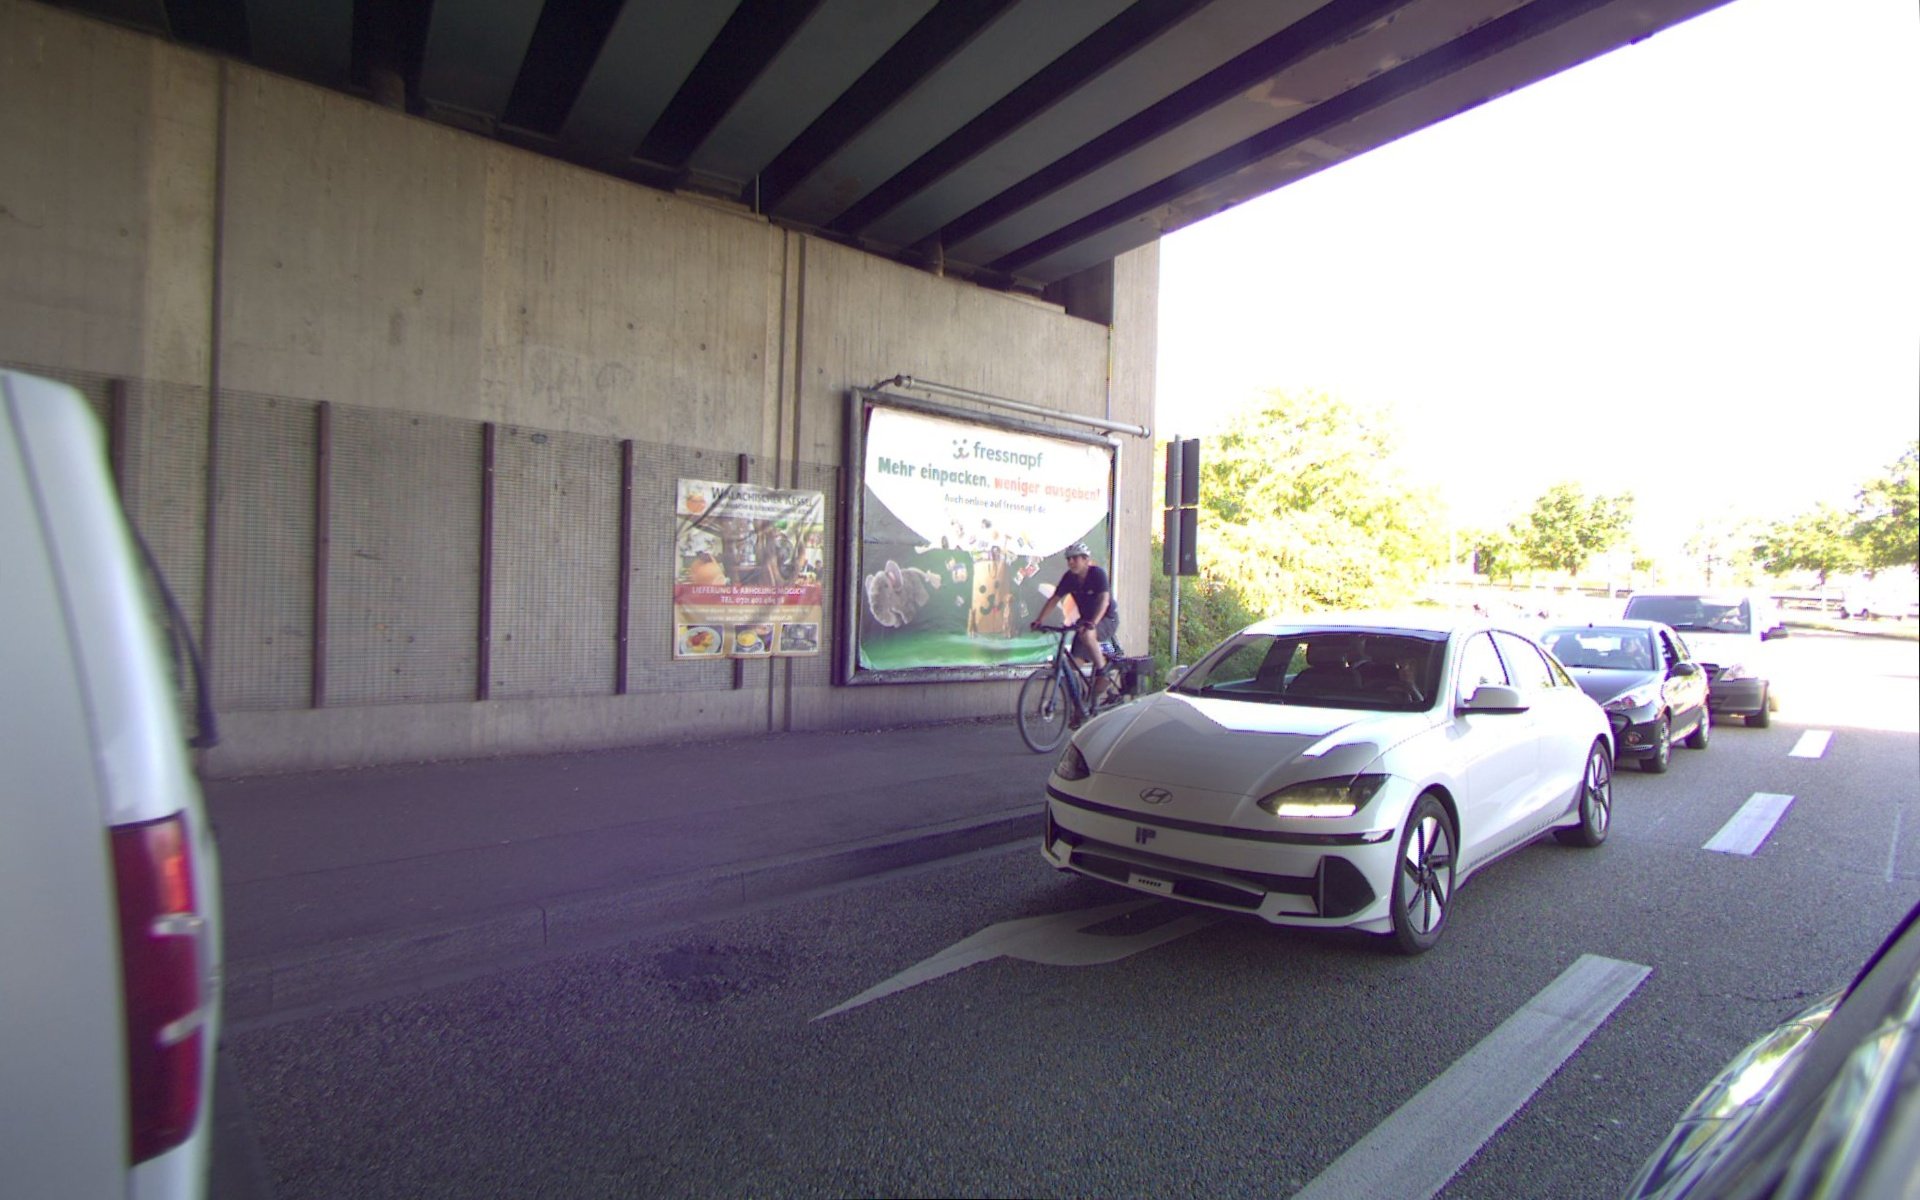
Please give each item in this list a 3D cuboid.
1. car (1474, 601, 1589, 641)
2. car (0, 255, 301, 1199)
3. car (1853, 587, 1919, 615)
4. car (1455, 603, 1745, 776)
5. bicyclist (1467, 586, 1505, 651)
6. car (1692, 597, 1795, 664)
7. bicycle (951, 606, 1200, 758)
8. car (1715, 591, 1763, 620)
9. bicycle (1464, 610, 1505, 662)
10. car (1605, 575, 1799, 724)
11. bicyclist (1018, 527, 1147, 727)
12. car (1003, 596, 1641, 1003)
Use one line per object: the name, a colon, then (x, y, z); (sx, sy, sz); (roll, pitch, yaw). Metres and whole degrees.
car: (24.202, 0.851, 42.833); (4.440, 1.616, 1.823); (0, 0, -21)
car: (-2.999, 0.527, 0.508); (4.226, 1.857, 1.816); (1, -1, -42)
car: (55.191, 0.035, 60.059); (1.784, 1.626, 4.267); (1, 1, 20)
car: (6.818, 0.776, 10.638); (3.654, 1.474, 1.747); (0, 0, -43)
bicyclist: (13.117, 0.459, 25.235); (0.651, 1.552, 0.836); (4, 2, 34)
car: (20.522, 0.717, 26.495); (1.990, 1.570, 4.359); (1, 1, 39)
bicycle: (1.101, 0.653, 9.060); (2.427, 1.160, 0.767); (1, 2, -42)
car: (44.353, 0.277, 57.680); (1.724, 1.421, 3.831); (-1, 3, 31)
bicycle: (13.042, 0.868, 25.159); (0.649, 1.181, 1.756); (4, 2, 34)
car: (11.096, 0.610, 14.992); (1.896, 1.859, 4.762); (0, 0, 42)
bicyclist: (1.095, 0.221, 9.032); (0.871, 1.676, 0.748); (0, 0, -41)
car: (2.437, 0.722, 5.933); (4.588, 1.474, 1.746); (0, 0, -45)
